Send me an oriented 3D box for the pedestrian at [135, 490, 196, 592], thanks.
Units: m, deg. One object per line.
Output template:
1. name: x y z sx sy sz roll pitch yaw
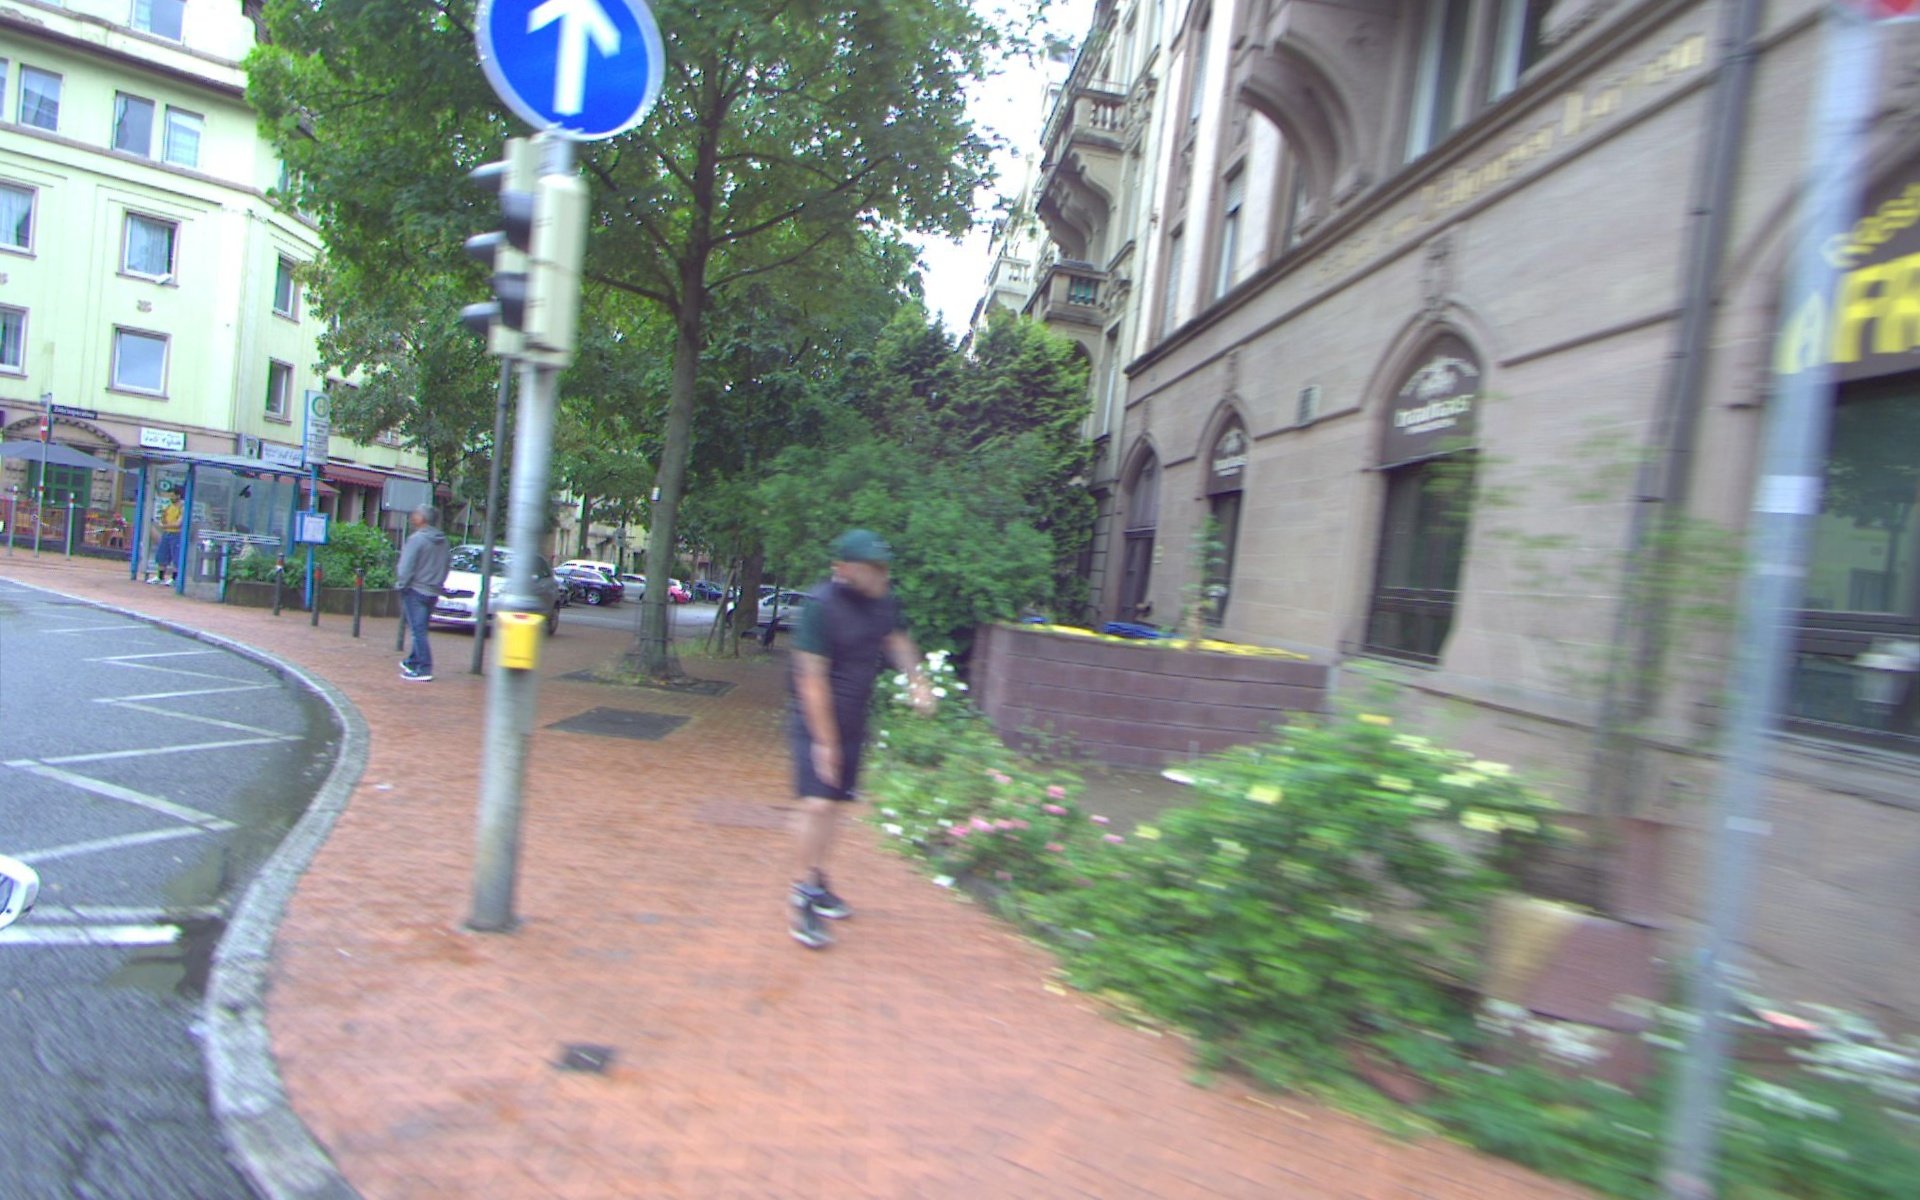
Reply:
1. pedestrian: -14.640 -1.069 18.544 0.551 1.797 0.544 7 0 -14

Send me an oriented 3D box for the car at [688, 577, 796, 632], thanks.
1. car: -7.711 0.184 35.810 3.439 1.482 1.589 7 -1 -6

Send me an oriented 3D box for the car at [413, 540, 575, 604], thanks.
1. car: -15.899 -0.911 34.501 4.566 1.546 1.791 7 -1 -6

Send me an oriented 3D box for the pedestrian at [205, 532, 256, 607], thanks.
1. pedestrian: -13.361 -0.559 18.412 0.568 1.295 0.611 7 0 -44

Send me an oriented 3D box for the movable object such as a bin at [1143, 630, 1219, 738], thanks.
1. movable object such as a bin: 2.382 0.892 10.893 0.523 1.070 0.593 7 0 -8

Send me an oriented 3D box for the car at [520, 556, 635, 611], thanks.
1. car: -15.707 -0.654 41.446 3.930 1.748 1.791 7 -1 -6

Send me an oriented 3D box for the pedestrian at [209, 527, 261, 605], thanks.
1. pedestrian: -12.924 -0.607 17.944 0.568 1.295 0.527 7 0 -44

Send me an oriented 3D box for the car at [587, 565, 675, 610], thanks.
1. car: -16.867 -0.615 51.702 3.829 1.769 1.791 7 -1 -6

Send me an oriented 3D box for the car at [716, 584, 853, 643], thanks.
1. car: -5.780 0.459 33.602 4.258 1.412 1.707 7 -1 -6

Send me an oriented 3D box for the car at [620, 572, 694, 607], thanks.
1. car: -18.108 -0.610 60.307 3.829 1.607 1.731 7 -1 -6

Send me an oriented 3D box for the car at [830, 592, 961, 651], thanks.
1. car: -2.065 0.677 31.956 3.928 1.547 1.875 4 -1 -6

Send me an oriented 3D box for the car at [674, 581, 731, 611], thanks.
1. car: -19.862 -0.297 77.667 3.829 1.769 1.791 7 -1 -6

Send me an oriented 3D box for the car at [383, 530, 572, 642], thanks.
1. car: -8.290 -0.166 17.669 1.741 1.519 3.673 8 -3 -7

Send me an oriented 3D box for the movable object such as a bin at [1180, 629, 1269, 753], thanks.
1. movable object such as a bin: 2.509 0.854 9.596 0.533 1.078 0.558 7 0 -8

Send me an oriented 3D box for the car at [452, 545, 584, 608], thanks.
1. car: -16.124 -0.841 36.861 3.930 1.748 1.791 7 -1 -6

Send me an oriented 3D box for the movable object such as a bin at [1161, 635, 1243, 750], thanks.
1. movable object such as a bin: 2.460 0.929 10.281 0.528 1.070 0.575 7 0 -8

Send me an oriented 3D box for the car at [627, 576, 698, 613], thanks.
1. car: -18.571 -0.326 62.862 3.829 1.769 1.791 7 -1 -6

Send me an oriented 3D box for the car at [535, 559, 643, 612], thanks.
1. car: -16.160 -0.605 44.020 3.930 1.810 1.791 7 -1 -6

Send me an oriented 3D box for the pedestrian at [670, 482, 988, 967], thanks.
1. pedestrian: -0.497 0.463 4.169 0.877 1.699 0.831 7 0 15

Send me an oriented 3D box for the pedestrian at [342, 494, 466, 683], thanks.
1. pedestrian: -5.536 -0.101 10.047 0.718 1.754 0.573 7 0 0

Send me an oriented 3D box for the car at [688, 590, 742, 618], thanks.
1. car: -19.582 0.346 80.589 3.829 1.769 1.791 7 -1 -6
